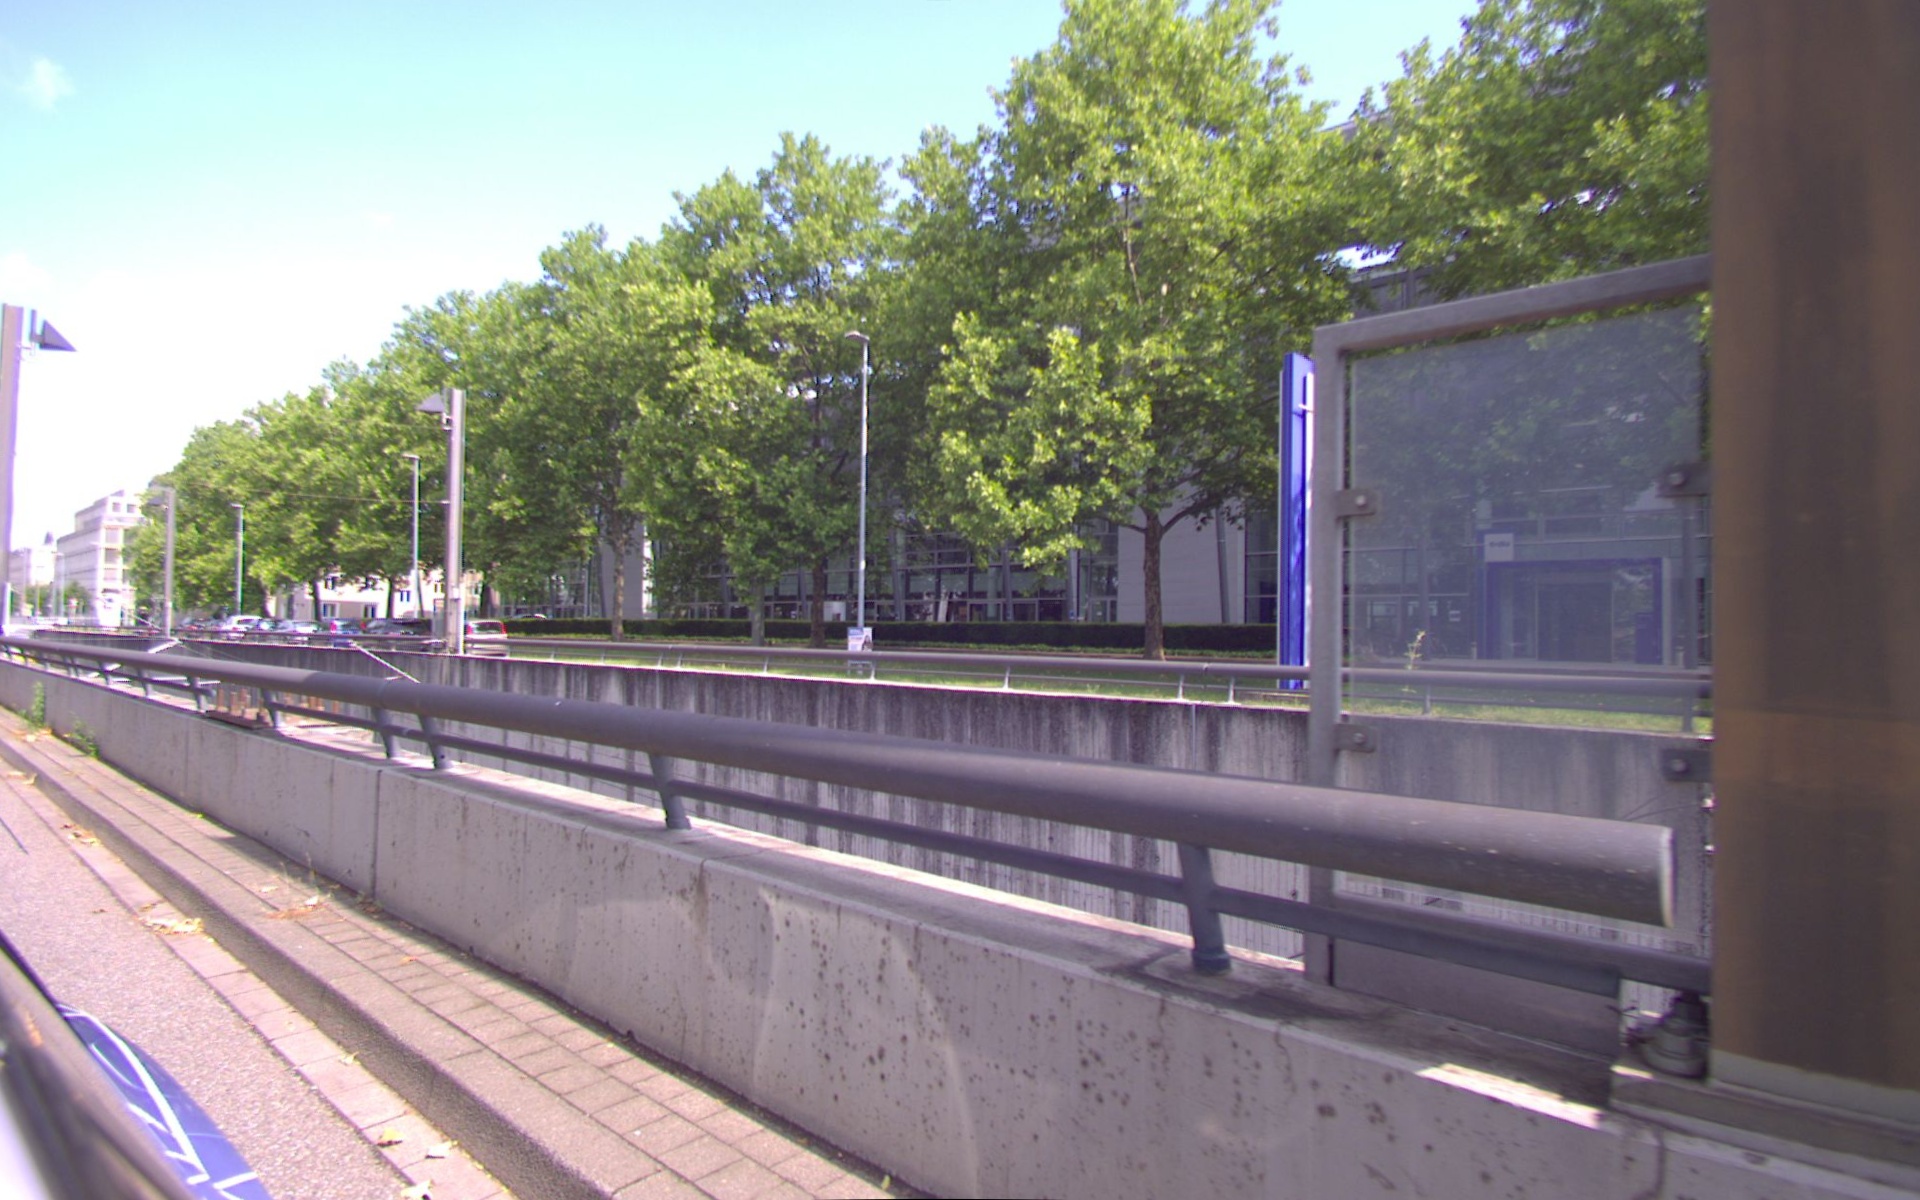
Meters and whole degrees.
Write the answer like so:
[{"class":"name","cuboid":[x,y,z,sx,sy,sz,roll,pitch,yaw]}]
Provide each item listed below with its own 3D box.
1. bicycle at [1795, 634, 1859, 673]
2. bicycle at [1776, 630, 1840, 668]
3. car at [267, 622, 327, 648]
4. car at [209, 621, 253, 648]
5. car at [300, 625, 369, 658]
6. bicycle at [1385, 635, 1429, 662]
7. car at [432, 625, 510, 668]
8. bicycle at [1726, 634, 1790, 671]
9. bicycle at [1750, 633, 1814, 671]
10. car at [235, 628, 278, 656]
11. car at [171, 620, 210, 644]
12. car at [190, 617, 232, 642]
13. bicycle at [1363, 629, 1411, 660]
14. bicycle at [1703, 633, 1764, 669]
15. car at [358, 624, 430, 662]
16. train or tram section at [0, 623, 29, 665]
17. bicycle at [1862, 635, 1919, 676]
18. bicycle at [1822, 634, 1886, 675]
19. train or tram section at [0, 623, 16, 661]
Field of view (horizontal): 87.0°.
[{"class":"bicycle","cuboid":[26.511,1.623,30.939,2.232,1.158,0.638,1,-2,-27]},{"class":"bicycle","cuboid":[26.625,1.536,31.781,2.232,1.158,0.638,1,-2,-25]},{"class":"car","cuboid":[-31.623,1.657,48.228,3.126,1.215,1.590,-1,-2,41]},{"class":"car","cuboid":[-39.319,1.865,54.565,3.184,1.387,1.291,-1,-2,42]},{"class":"car","cuboid":[-27.864,1.819,45.020,3.895,1.387,1.559,-1,-2,42]},{"class":"bicycle","cuboid":[17.577,1.892,39.866,0.586,1.031,2.339,0,-1,-2]},{"class":"car","cuboid":[-17.531,1.640,36.221,3.156,1.467,1.402,-1,-2,42]},{"class":"bicycle","cuboid":[26.162,1.722,33.176,2.232,1.158,0.638,1,1,-24]},{"class":"bicycle","cuboid":[26.321,1.659,32.417,2.232,1.158,0.638,1,-2,-24]},{"class":"car","cuboid":[-35.923,2.132,51.673,2.744,1.387,1.152,-1,-2,42]},{"class":"car","cuboid":[-46.701,1.932,61.398,3.184,1.387,1.291,-1,-2,42]},{"class":"car","cuboid":[-43.033,1.682,58.157,3.184,1.387,1.291,-1,-2,42]},{"class":"bicycle","cuboid":[16.818,1.746,39.916,0.802,1.186,2.339,0,-1,-2]},{"class":"bicycle","cuboid":[25.845,1.709,33.806,2.232,1.158,0.638,1,-2,-24]},{"class":"car","cuboid":[-22.702,1.687,40.548,3.156,1.445,1.561,-1,-2,42]},{"class":"train or tram section","cuboid":[-60.350,2.733,63.510,6.246,2.477,2.187,-1,0,41]},{"class":"bicycle","cuboid":[27.196,1.605,29.450,2.233,1.158,0.798,2,-2,-31]},{"class":"bicycle","cuboid":[26.588,1.614,30.105,2.232,1.158,0.638,2,-2,-27]},{"class":"train or tram section","cuboid":[-65.043,2.790,67.662,6.246,2.477,2.187,-1,0,41]}]
